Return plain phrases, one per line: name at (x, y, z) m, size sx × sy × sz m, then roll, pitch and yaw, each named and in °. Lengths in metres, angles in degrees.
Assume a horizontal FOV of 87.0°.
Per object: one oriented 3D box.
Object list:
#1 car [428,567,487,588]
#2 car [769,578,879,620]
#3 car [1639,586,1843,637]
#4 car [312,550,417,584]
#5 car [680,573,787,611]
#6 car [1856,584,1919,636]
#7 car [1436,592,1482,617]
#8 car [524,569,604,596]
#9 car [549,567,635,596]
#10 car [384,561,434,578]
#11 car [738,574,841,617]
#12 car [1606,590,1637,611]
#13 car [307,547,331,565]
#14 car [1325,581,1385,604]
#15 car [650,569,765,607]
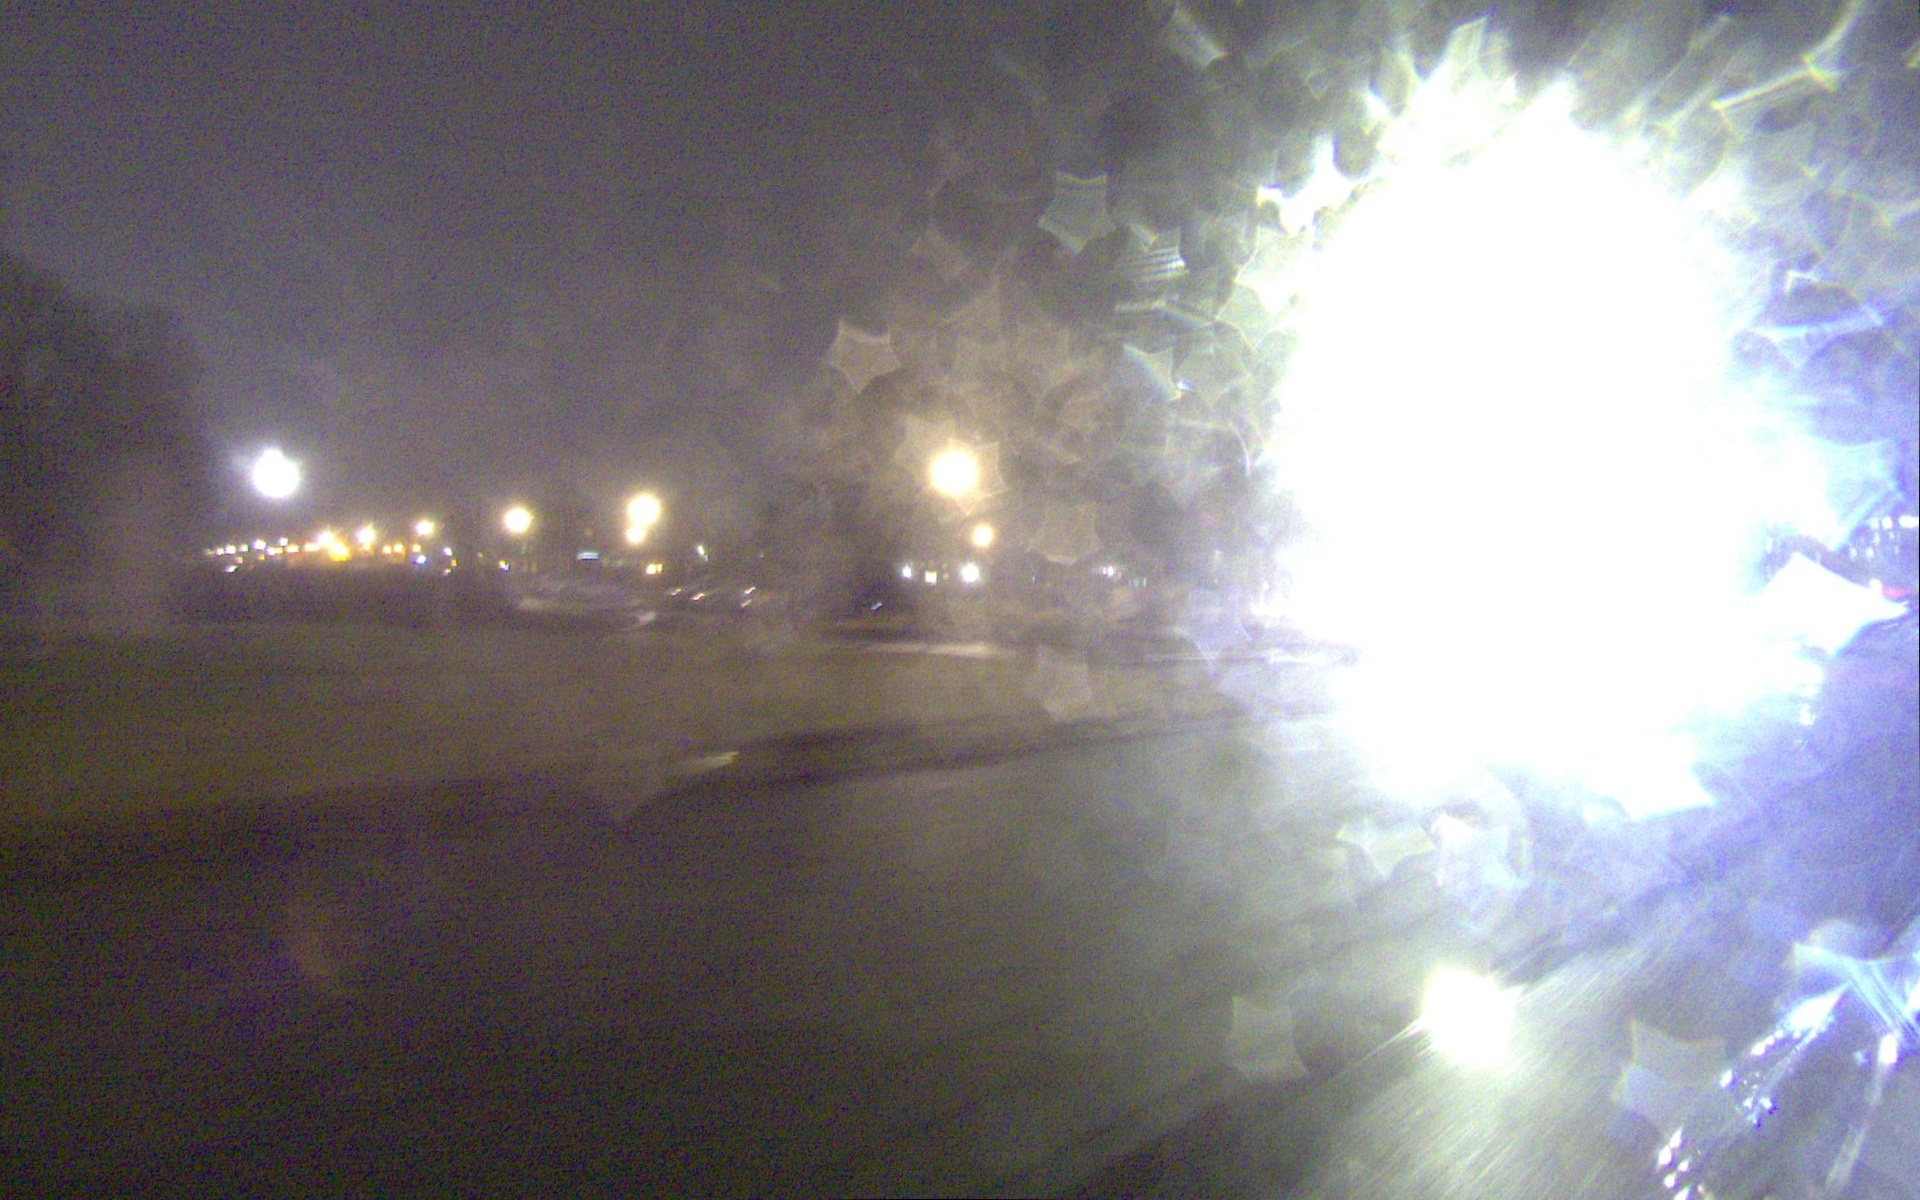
car at (-39.822, -1.797, 80.218) m, size 3.926 × 1.504 × 2.000 m, roll 0°, pitch 3°, yaw -38°
car at (-5.069, -0.023, 38.053) m, size 3.952 × 1.465 × 1.484 m, roll 1°, pitch 1°, yaw -42°
car at (26.014, 0.336, 33.974) m, size 1.958 × 1.484 × 5.110 m, roll 1°, pitch 1°, yaw -21°
car at (-28.991, -1.586, 49.333) m, size 4.112 × 1.517 × 1.998 m, roll 0°, pitch 3°, yaw -41°
car at (-9.900, -0.348, 44.281) m, size 4.107 × 1.539 × 2.000 m, roll 0°, pitch 2°, yaw -36°
car at (31.455, 0.390, 31.303) m, size 1.960 × 1.602 × 5.205 m, roll 1°, pitch 1°, yaw -29°
car at (35.738, 0.317, 72.417) m, size 1.992 × 1.693 × 4.123 m, roll 3°, pitch 1°, yaw 41°
car at (-23.979, -1.062, 61.299) m, size 4.107 × 1.517 × 2.000 m, roll 1°, pitch 1°, yaw -36°
car at (-20.796, -1.063, 57.203) m, size 4.112 × 1.517 × 1.998 m, roll 0°, pitch 3°, yaw -41°
car at (-53.067, -2.947, 97.547) m, size 3.929 × 1.504 × 1.998 m, roll 0°, pitch 3°, yaw -40°
car at (-6.727, -0.172, 40.208) m, size 3.813 × 1.587 × 1.488 m, roll 1°, pitch 1°, yaw -41°
car at (61.212, 0.049, 93.635) m, size 1.991 × 1.776 × 3.944 m, roll 3°, pitch 3°, yaw 39°
car at (-77.063, -5.291, 121.623) m, size 1.964 × 2.039 × 3.997 m, roll 1°, pitch 1°, yaw -39°
car at (26.369, -0.486, 67.507) m, size 3.922 × 1.470 × 1.770 m, roll 0°, pitch 1°, yaw -33°
car at (-11.539, -0.555, 46.380) m, size 4.724 × 1.656 × 2.000 m, roll 0°, pitch 1°, yaw -36°
